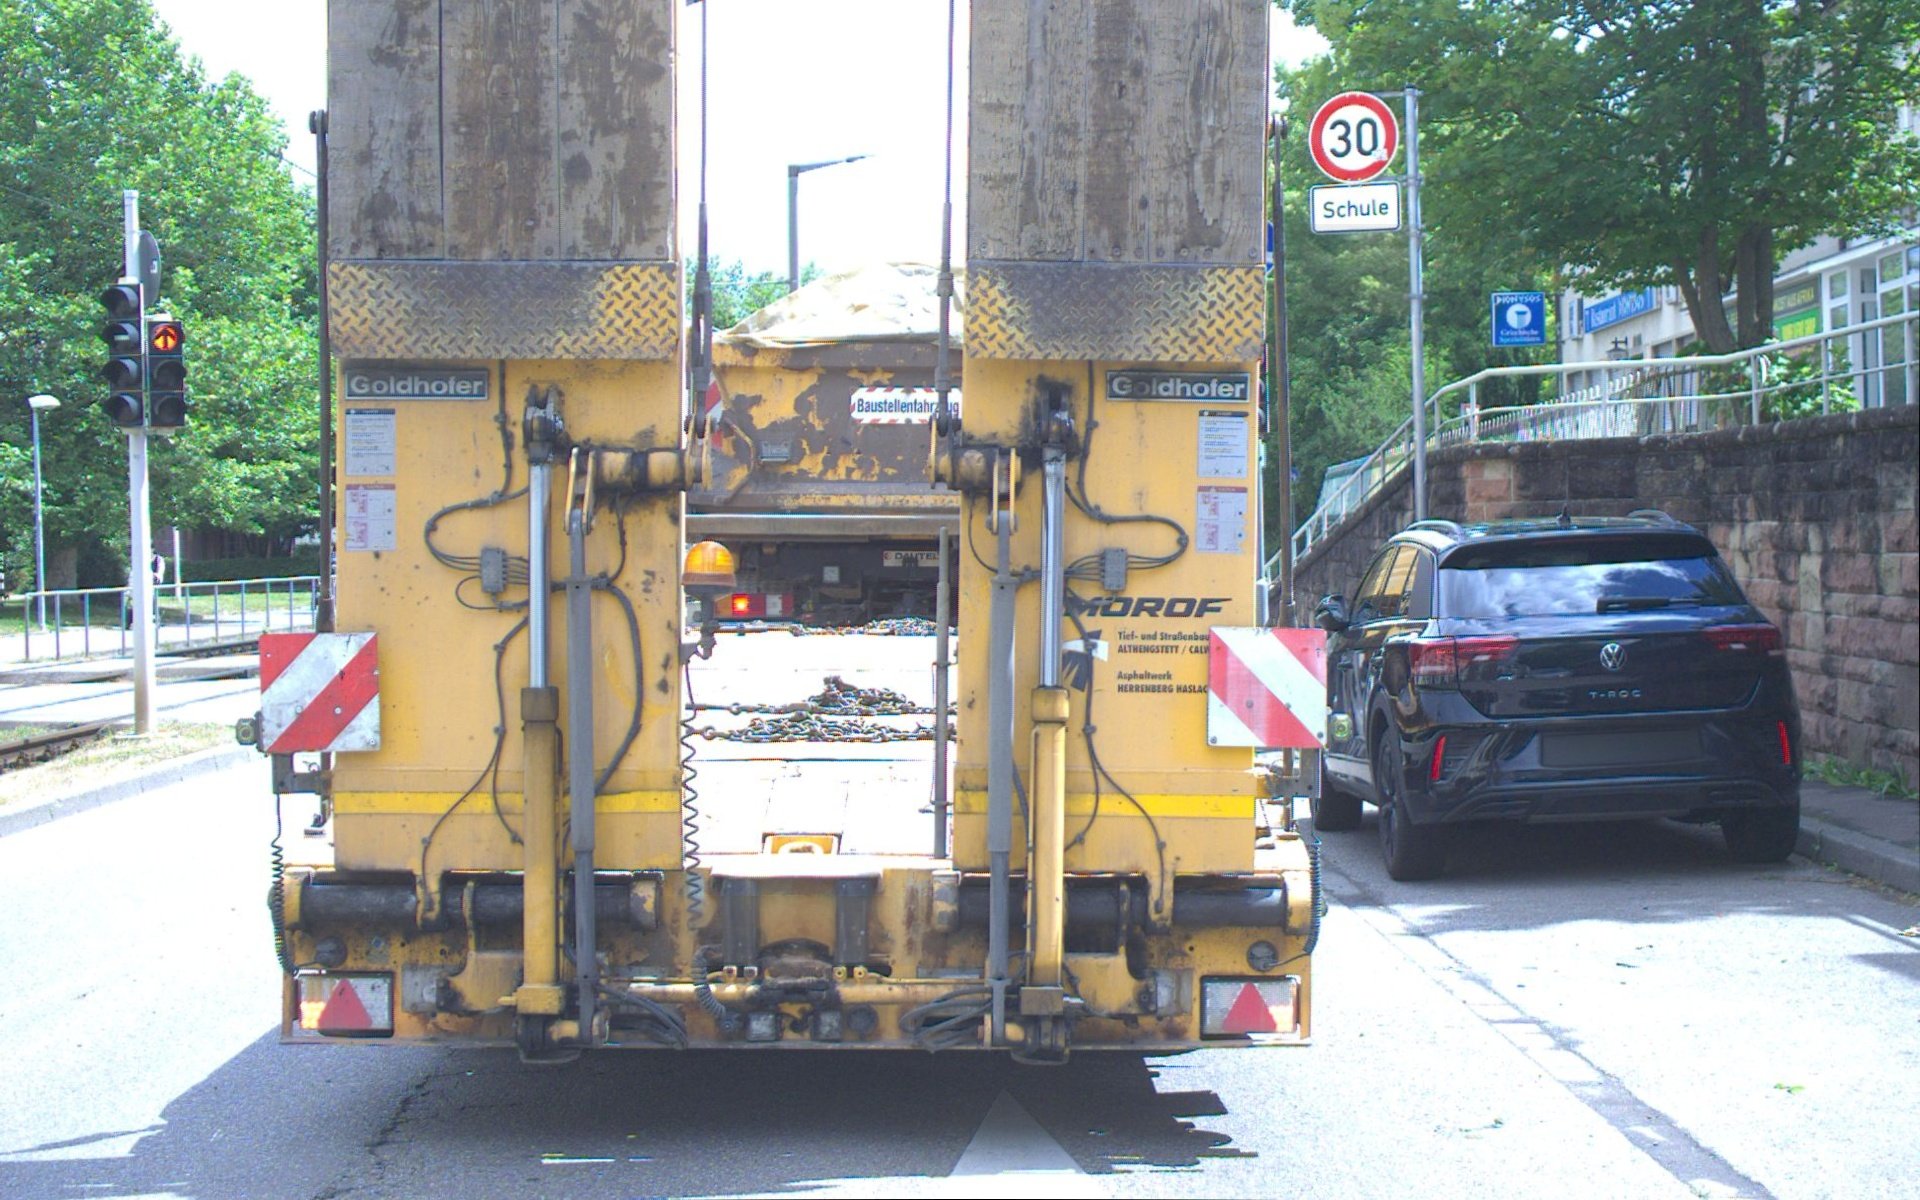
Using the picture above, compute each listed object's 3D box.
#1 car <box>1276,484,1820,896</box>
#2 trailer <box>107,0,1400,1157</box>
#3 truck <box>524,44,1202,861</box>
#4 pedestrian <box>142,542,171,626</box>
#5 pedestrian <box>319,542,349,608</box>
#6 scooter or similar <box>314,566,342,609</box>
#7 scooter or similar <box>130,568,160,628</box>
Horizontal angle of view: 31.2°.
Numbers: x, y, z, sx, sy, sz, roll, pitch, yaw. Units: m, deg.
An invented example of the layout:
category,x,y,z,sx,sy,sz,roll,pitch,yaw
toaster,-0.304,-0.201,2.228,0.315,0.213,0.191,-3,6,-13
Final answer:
category,x,y,z,sx,sy,sz,roll,pitch,yaw
car,2.607,0.345,16.170,1.851,1.633,4.000,-2,1,0
trailer,-0.450,-0.608,12.271,2.945,3.589,8.684,-1,1,0
truck,-0.417,-0.694,17.629,2.942,3.560,4.877,-1,1,0
pedestrian,-14.800,-0.290,63.296,0.348,1.531,0.557,-1,1,3
pedestrian,-14.507,-0.580,79.647,0.563,1.508,0.646,1,1,-1
scooter or similar,-14.520,-0.298,78.997,0.505,0.968,0.646,1,1,-1
scooter or similar,-14.846,-0.040,62.600,0.338,1.054,0.687,-1,2,3
